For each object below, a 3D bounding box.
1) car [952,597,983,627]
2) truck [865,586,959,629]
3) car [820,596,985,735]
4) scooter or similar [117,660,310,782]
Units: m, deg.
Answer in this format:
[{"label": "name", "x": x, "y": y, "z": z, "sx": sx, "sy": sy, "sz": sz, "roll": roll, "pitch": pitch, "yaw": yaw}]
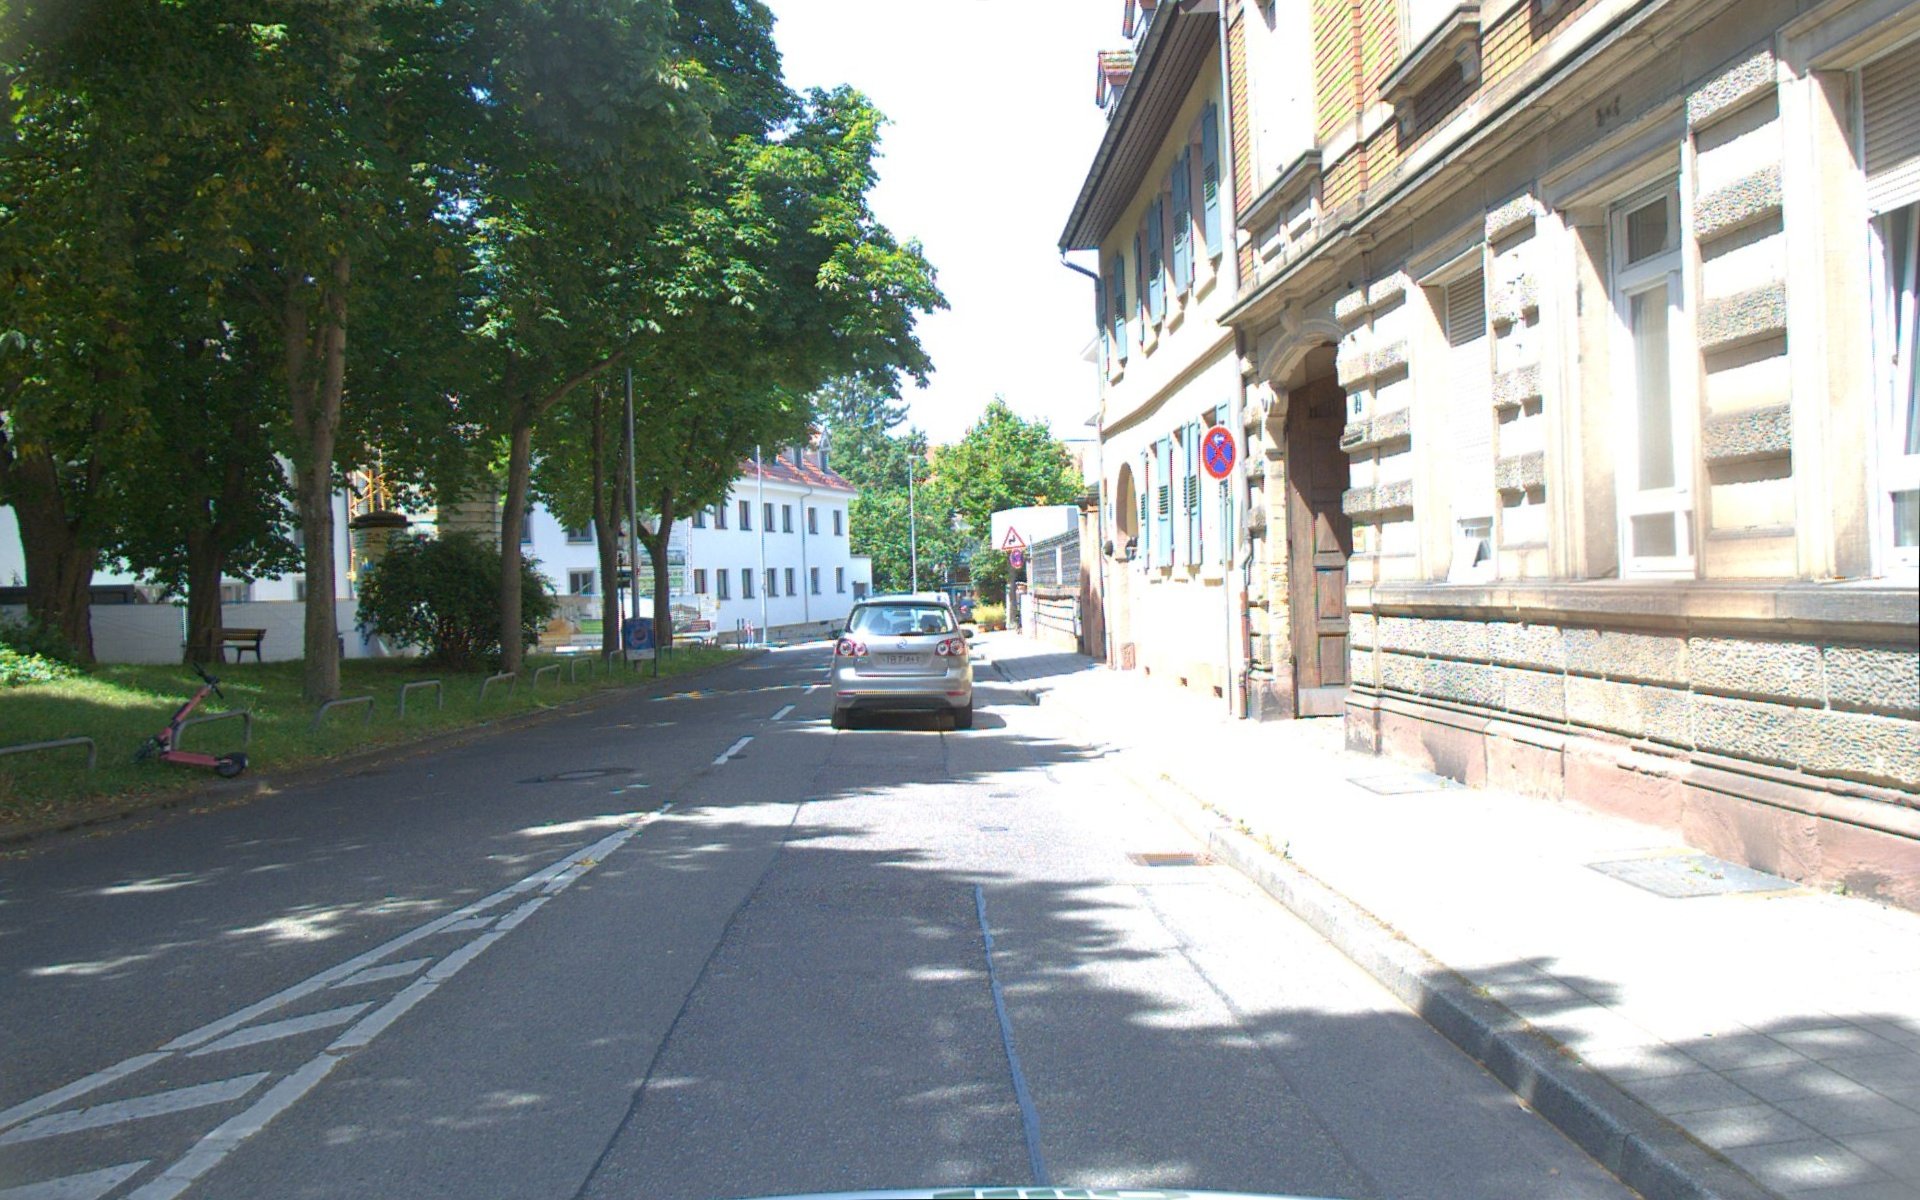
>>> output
[{"label": "car", "x": 0.412, "y": 0.672, "z": 92.784, "sx": 1.614, "sy": 1.601, "sz": 3.638, "roll": -1, "pitch": 0, "yaw": -2}, {"label": "truck", "x": -2.574, "y": 0.390, "z": 88.021, "sx": 4.705, "sy": 2.049, "sz": 2.141, "roll": -2, "pitch": 0, "yaw": -9}, {"label": "car", "x": -0.623, "y": 0.752, "z": 21.001, "sx": 1.864, "sy": 1.560, "sz": 4.244, "roll": -1, "pitch": 0, "yaw": 1}, {"label": "scooter or similar", "x": -7.441, "y": 1.188, "z": 16.589, "sx": 1.247, "sy": 1.008, "sz": 1.450, "roll": 6, "pitch": -1, "yaw": -4}]
